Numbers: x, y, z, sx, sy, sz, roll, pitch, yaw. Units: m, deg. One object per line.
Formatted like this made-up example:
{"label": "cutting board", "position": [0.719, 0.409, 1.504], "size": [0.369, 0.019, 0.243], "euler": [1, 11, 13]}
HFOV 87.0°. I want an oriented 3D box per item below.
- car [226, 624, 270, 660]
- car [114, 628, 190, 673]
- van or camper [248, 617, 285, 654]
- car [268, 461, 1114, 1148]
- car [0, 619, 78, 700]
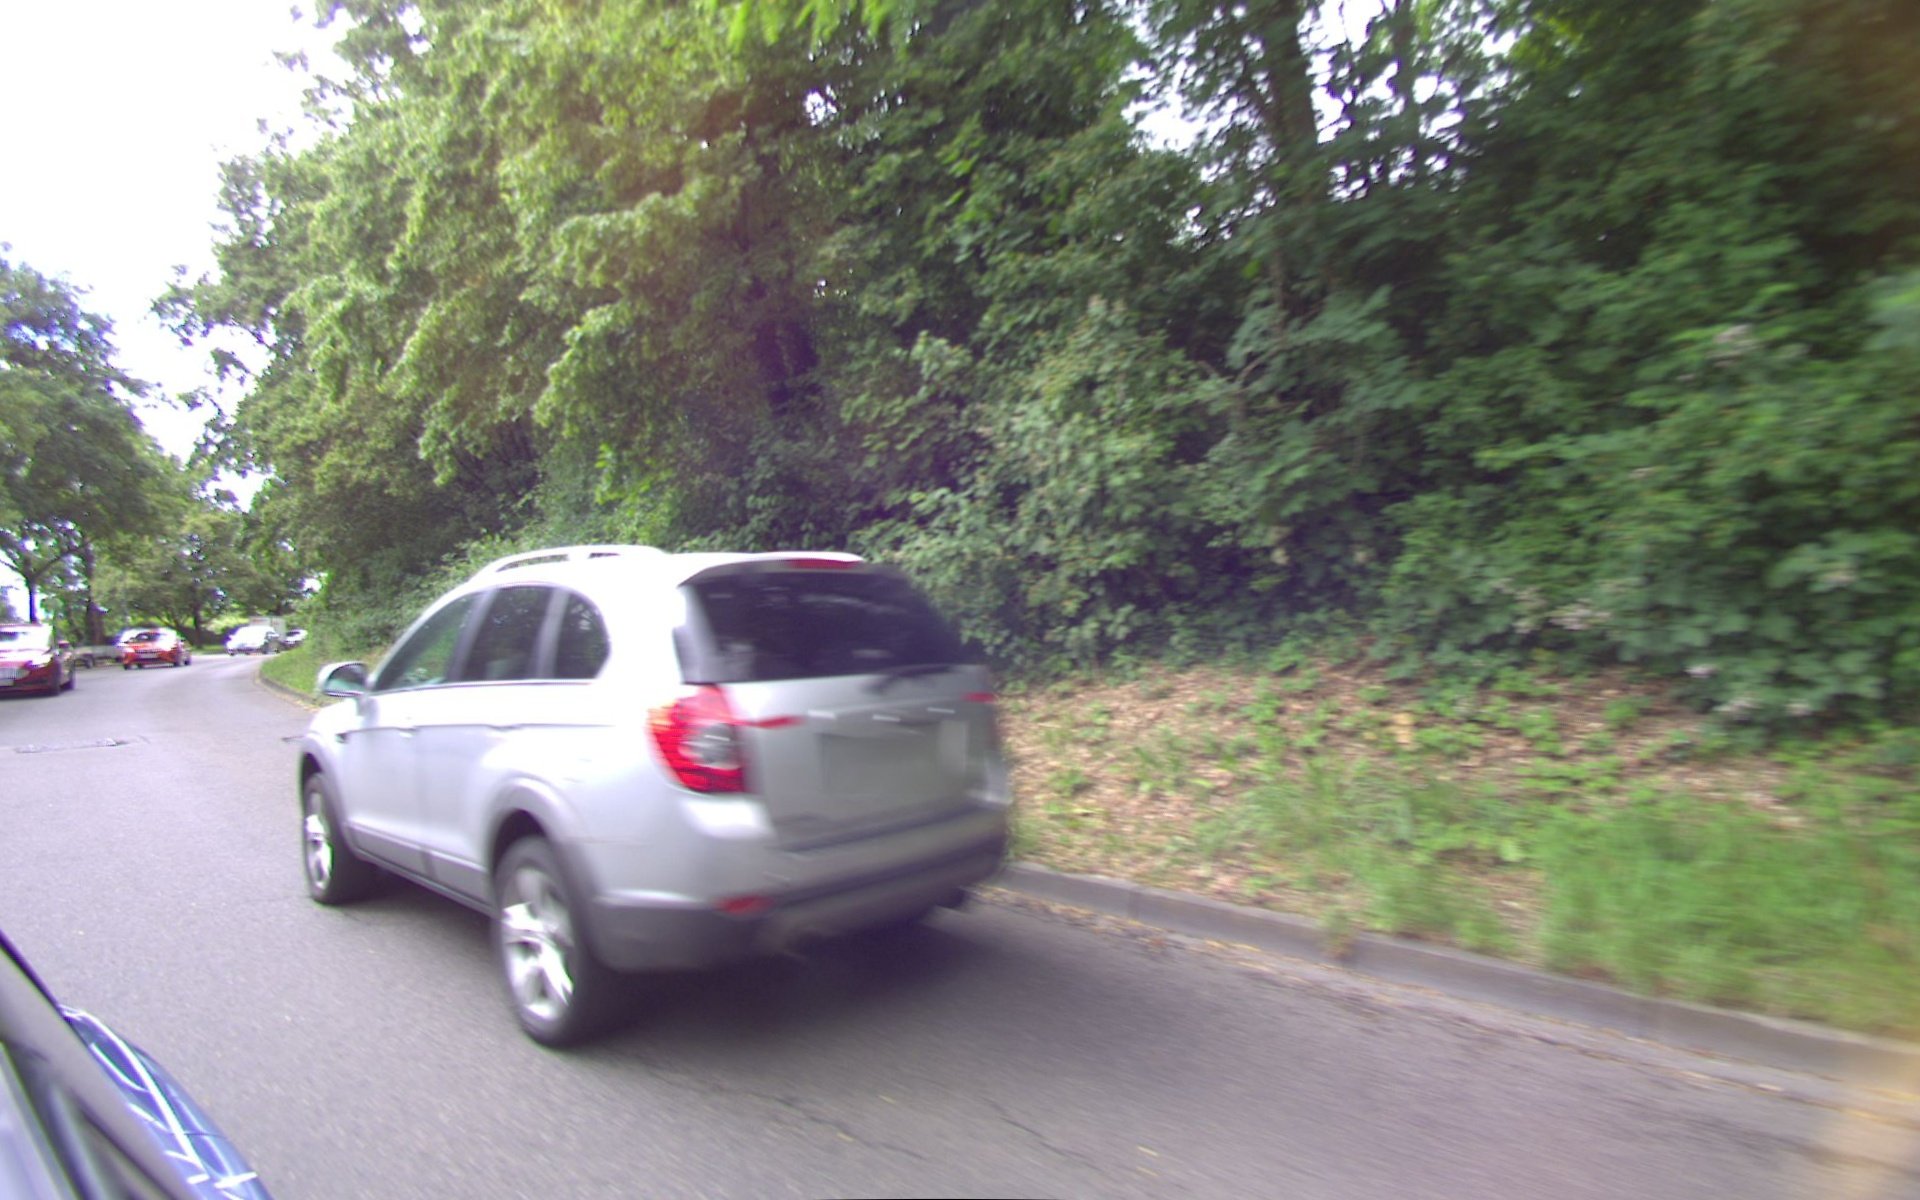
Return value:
{"label": "car", "position": [-40.487, 2.344, 57.588], "size": [1.927, 1.853, 4.689], "euler": [-1, 1, -34]}
{"label": "car", "position": [-31.231, 1.897, 39.251], "size": [1.927, 1.483, 4.689], "euler": [-1, 1, -34]}
{"label": "van or camper", "position": [-48.098, 2.419, 70.227], "size": [1.967, 2.361, 5.042], "euler": [-1, 1, -34]}
{"label": "car", "position": [-1.585, 0.565, 4.725], "size": [4.312, 1.741, 1.800], "euler": [-1, -2, 43]}
{"label": "car", "position": [-21.688, 1.302, 23.140], "size": [1.973, 1.621, 4.687], "euler": [-1, 1, -38]}
